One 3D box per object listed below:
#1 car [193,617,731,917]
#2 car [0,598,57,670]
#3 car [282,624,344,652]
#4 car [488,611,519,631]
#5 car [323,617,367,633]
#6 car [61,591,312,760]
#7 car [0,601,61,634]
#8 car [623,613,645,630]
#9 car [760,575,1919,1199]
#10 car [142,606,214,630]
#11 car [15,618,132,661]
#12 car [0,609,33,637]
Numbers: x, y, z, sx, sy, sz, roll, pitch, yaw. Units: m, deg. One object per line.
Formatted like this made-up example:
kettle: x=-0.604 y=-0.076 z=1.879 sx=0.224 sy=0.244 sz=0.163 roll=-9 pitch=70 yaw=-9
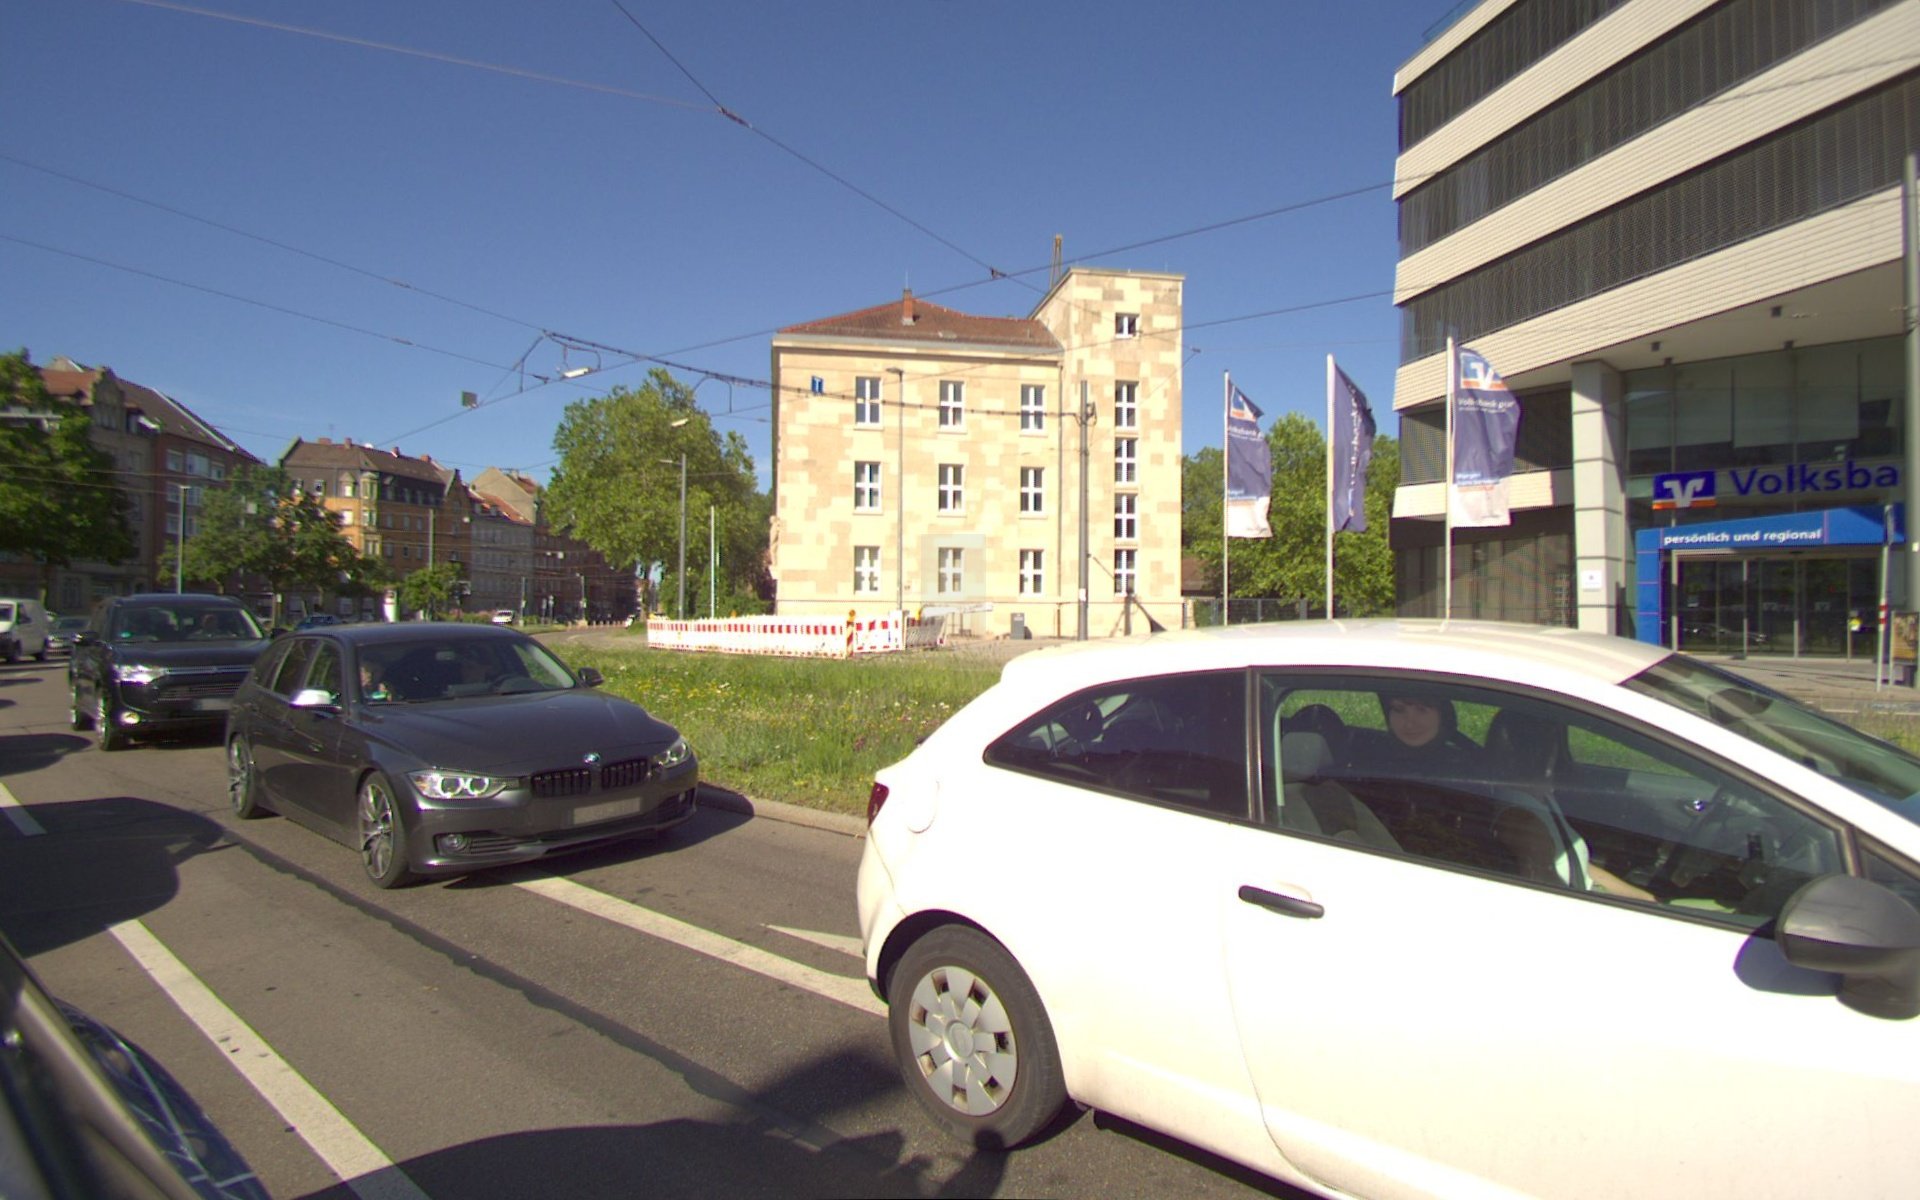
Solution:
car: x=-3.604 y=0.828 z=6.883 sx=4.424 sy=1.377 sz=1.719 roll=-1 pitch=0 yaw=41
car: x=-29.610 y=0.988 z=30.965 sx=1.949 sy=2.101 sz=4.727 roll=2 pitch=-1 yaw=-30
car: x=-40.208 y=2.325 z=62.997 sx=1.811 sy=1.659 sz=4.157 roll=1 pitch=-1 yaw=-10
car: x=-46.105 y=2.070 z=102.300 sx=1.967 sy=1.889 sz=4.602 roll=-1 pitch=0 yaw=-13
car: x=-69.128 y=2.802 z=113.869 sx=3.931 sy=1.663 sz=1.868 roll=-1 pitch=0 yaw=-18
car: x=-9.387 y=0.773 z=12.134 sx=1.817 sy=1.658 sz=4.400 roll=-1 pitch=-1 yaw=-45
car: x=-49.938 y=0.887 z=52.793 sx=4.514 sy=1.680 sz=1.601 roll=2 pitch=-2 yaw=-43
car: x=-33.343 y=2.173 z=103.588 sx=1.795 sy=1.658 sz=4.193 roll=0 pitch=-1 yaw=-13
car: x=1.475 y=0.695 z=2.484 sx=4.020 sy=1.452 sz=1.714 roll=0 pitch=2 yaw=40
car: x=-53.940 y=1.269 z=69.875 sx=3.771 sy=1.603 sz=1.601 roll=2 pitch=-2 yaw=-44
car: x=-33.219 y=1.442 z=38.084 sx=1.809 sy=1.483 sz=4.728 roll=1 pitch=-1 yaw=-22
car: x=-48.773 y=1.148 z=50.387 sx=3.768 sy=1.390 sz=1.602 roll=2 pitch=-2 yaw=-41
